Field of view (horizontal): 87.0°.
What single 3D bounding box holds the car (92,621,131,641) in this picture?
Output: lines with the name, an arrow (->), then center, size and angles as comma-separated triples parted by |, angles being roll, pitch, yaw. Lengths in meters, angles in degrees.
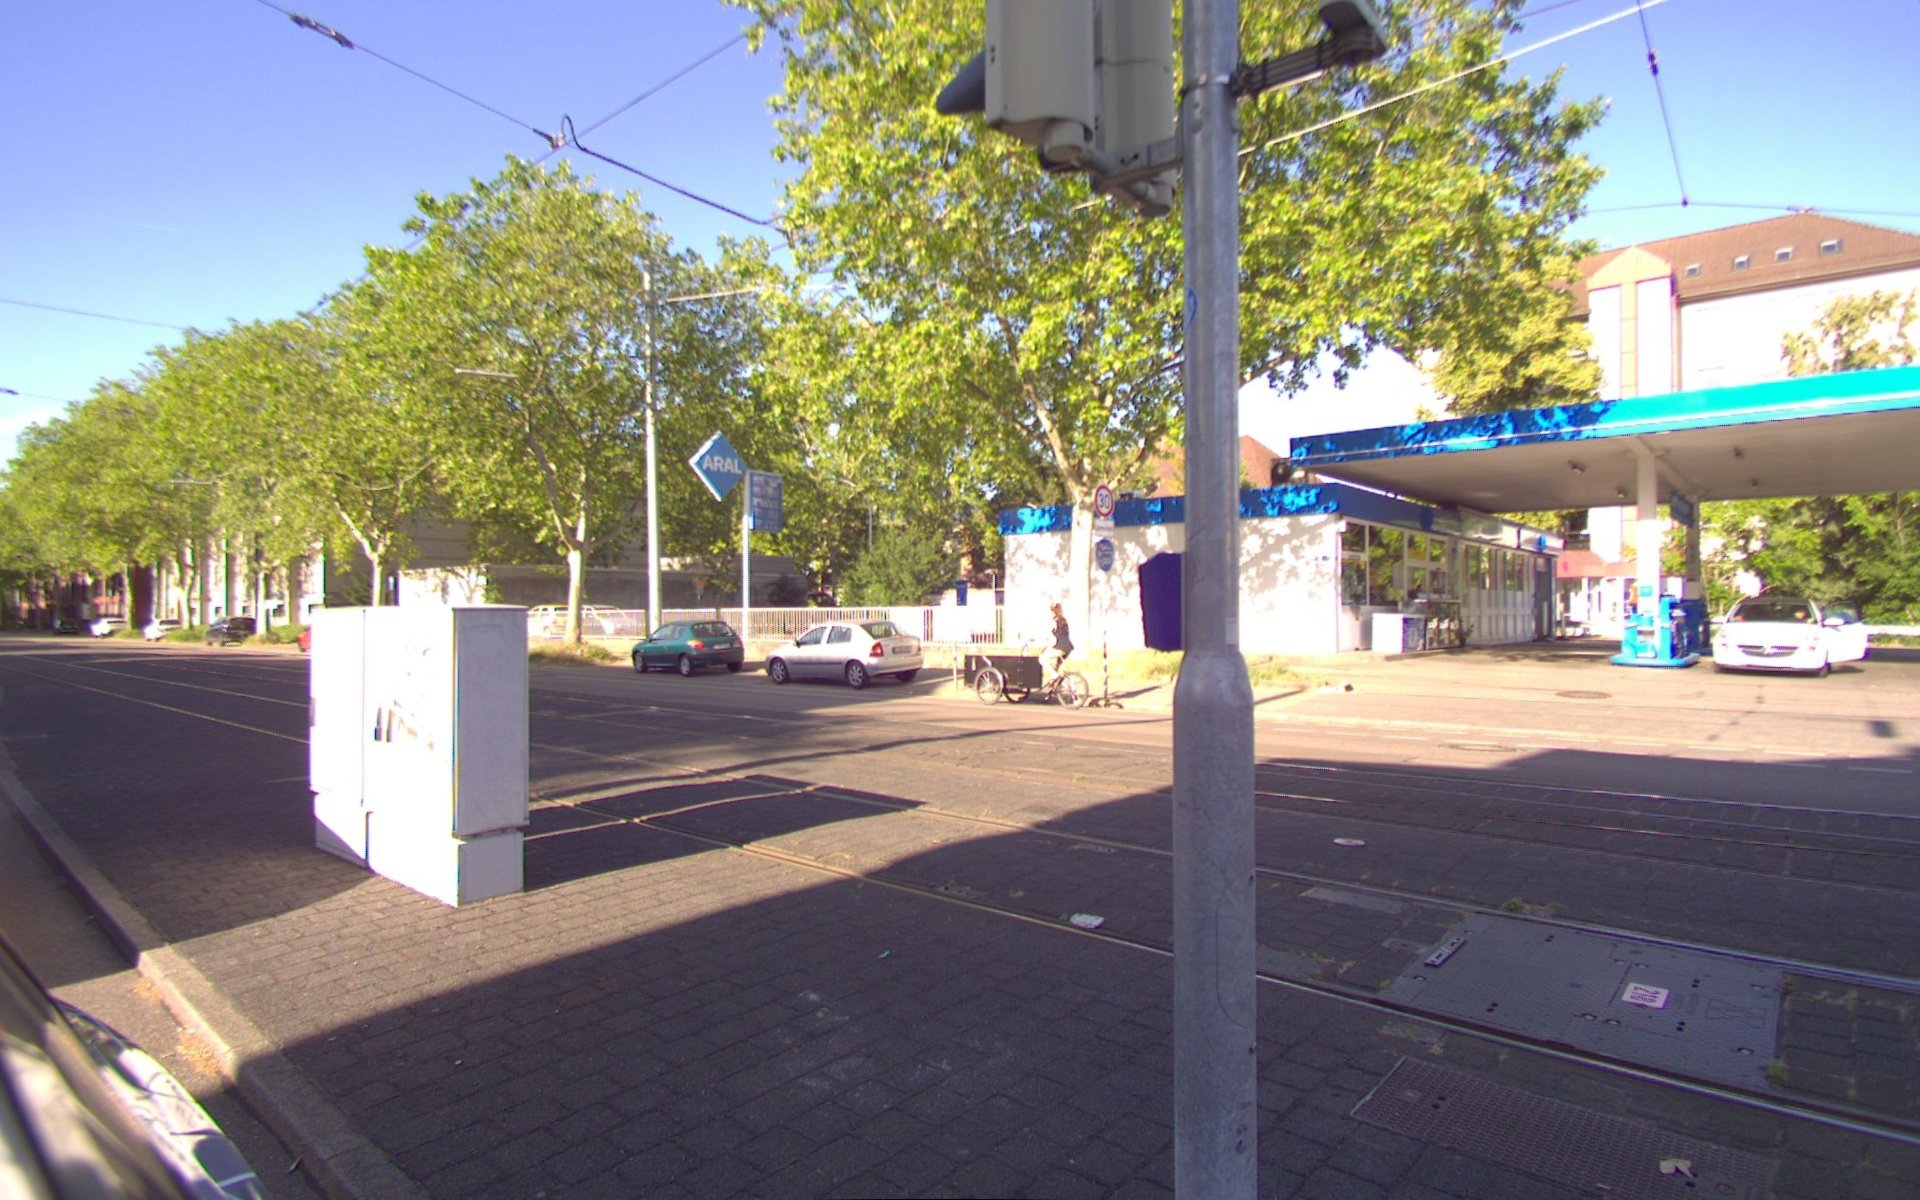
car -> -66.682, 2.398, 79.538 | 3.998, 1.525, 1.779 | -1, -1, 41

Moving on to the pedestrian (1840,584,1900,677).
pedestrian -> 17.082, 0.576, 19.011 | 0.760, 1.705, 0.579 | -1, -2, 37

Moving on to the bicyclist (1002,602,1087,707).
bicyclist -> 1.385, 0.862, 16.500 | 1.027, 1.650, 0.922 | -2, -1, 41

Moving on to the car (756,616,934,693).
car -> -2.632, 1.158, 22.666 | 3.965, 1.475, 1.771 | -1, 2, 43

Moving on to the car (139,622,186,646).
car -> -53.719, 2.263, 68.171 | 3.998, 1.509, 1.779 | -1, -1, 41

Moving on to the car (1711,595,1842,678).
car -> 16.024, 0.675, 19.910 | 1.812, 1.453, 3.947 | -1, -1, 39

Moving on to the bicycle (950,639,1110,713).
bicycle -> 1.118, 1.208, 16.670 | 2.518, 1.110, 1.045 | -1, -3, 41

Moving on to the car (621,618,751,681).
car -> -7.330, 1.276, 26.936 | 3.519, 1.475, 1.670 | -1, 2, 43

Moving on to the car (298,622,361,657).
car -> -28.556, 1.749, 45.805 | 3.045, 1.519, 1.620 | -1, -1, 41

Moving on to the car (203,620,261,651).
car -> -40.754, 1.951, 56.597 | 3.998, 1.674, 1.779 | -1, -1, 41

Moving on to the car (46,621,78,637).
car -> -85.320, 2.727, 96.128 | 3.998, 1.525, 1.779 | -1, -1, 41

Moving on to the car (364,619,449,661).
car -> -21.942, 1.549, 40.057 | 3.652, 1.541, 1.802 | -1, -1, 41
